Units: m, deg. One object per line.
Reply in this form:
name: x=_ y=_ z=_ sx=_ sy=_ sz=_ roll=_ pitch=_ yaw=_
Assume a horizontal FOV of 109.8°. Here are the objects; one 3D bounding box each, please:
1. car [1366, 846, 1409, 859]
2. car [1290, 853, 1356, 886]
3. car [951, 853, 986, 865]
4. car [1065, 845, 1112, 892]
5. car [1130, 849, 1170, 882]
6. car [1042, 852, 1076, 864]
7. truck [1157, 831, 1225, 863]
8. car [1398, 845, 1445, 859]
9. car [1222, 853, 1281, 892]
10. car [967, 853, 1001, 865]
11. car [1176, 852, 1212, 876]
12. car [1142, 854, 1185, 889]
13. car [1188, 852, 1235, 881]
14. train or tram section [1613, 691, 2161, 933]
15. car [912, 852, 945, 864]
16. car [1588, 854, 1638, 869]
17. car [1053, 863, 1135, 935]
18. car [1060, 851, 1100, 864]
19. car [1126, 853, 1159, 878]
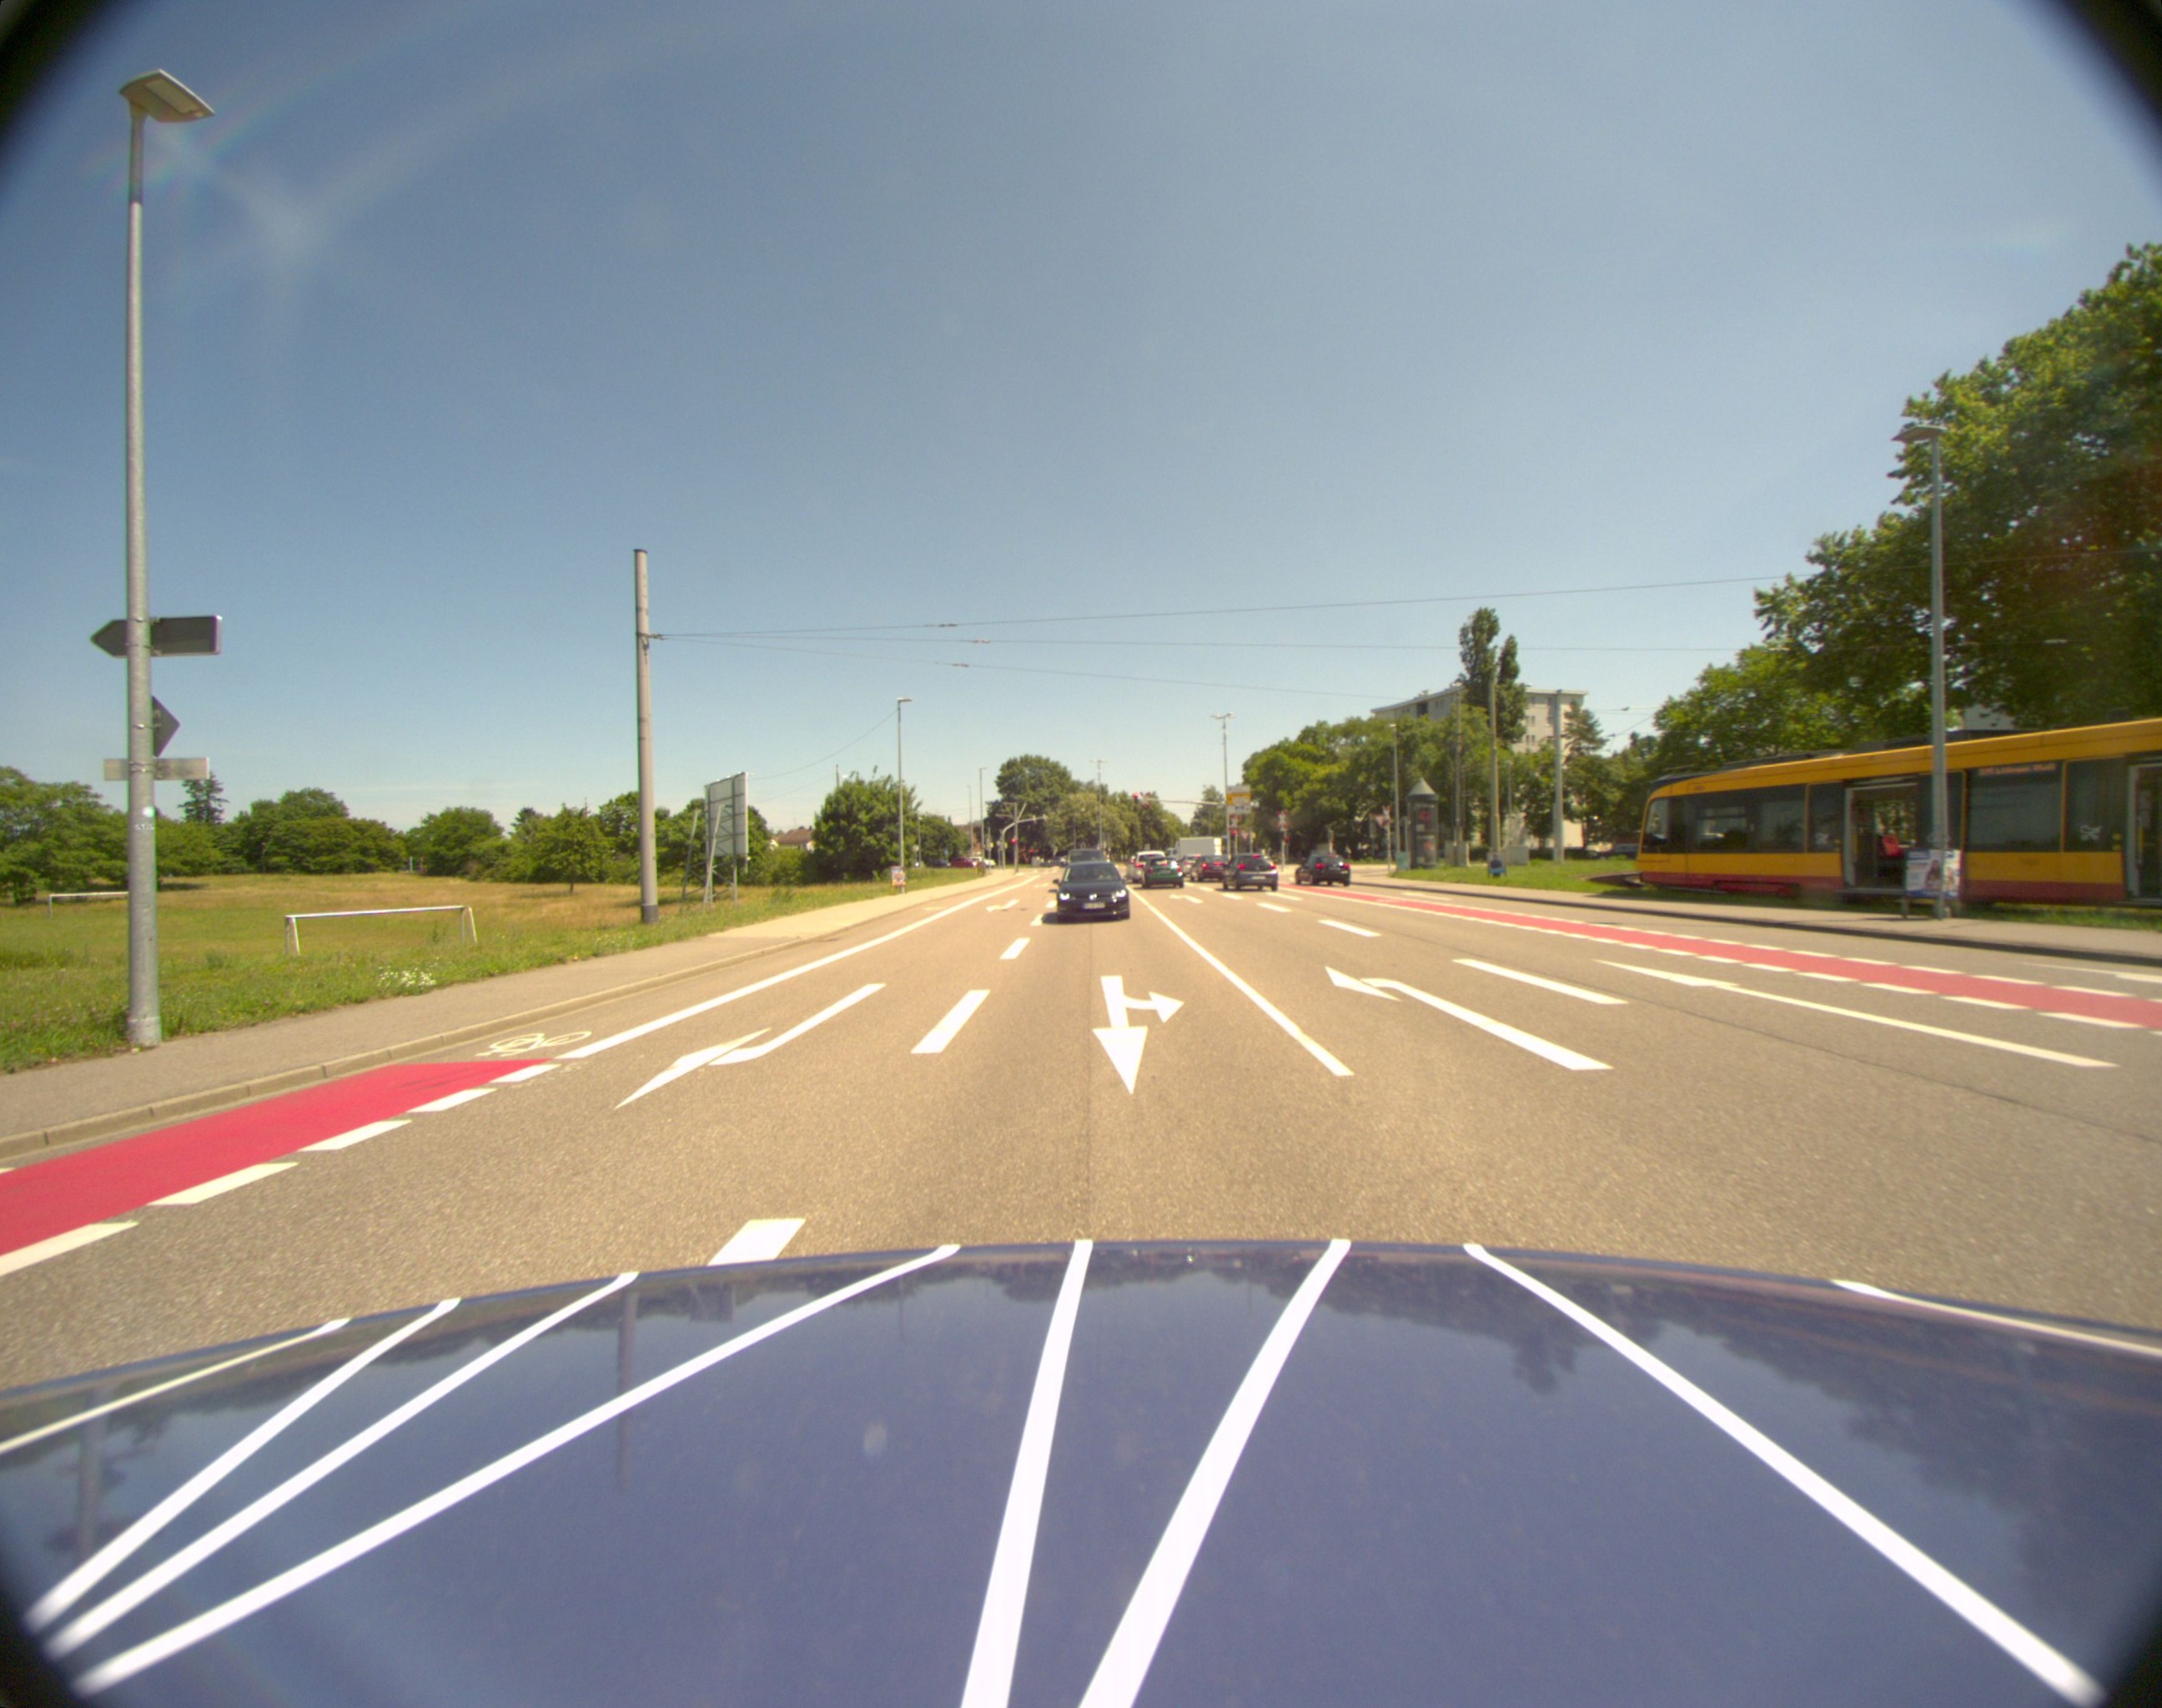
car: x=32.112 y=-0.144 z=79.558 sx=3.989 sy=1.279 sz=1.891 roll=-1 pitch=-2 yaw=30
car: x=11.273 y=0.699 z=35.670 sx=1.748 sy=1.397 sz=4.441 roll=1 pitch=0 yaw=1
car: x=-14.803 y=0.682 z=100.243 sx=4.400 sy=1.567 sz=1.879 roll=-1 pitch=-1 yaw=32
car: x=0.379 y=0.607 z=35.368 sx=1.941 sy=1.920 sz=4.846 roll=-3 pitch=1 yaw=2
car: x=3.794 y=0.605 z=42.244 sx=1.816 sy=1.713 sz=4.831 roll=-2 pitch=0 yaw=1
car: x=-2.888 y=0.533 z=100.777 sx=4.203 sy=1.416 sz=1.853 roll=-1 pitch=-1 yaw=32
truck: x=13.208 y=-0.760 z=91.582 sx=7.691 sy=3.511 sz=2.594 roll=-1 pitch=-2 yaw=32
car: x=33.186 y=-0.163 z=74.134 sx=3.989 sy=1.279 sz=1.751 roll=-1 pitch=-2 yaw=30
car: x=6.691 y=0.691 z=30.191 sx=1.626 sy=1.447 sz=3.501 roll=0 pitch=0 yaw=1
car: x=-13.154 y=0.629 z=103.215 sx=4.400 sy=1.567 sz=1.879 roll=-1 pitch=-1 yaw=32
car: x=7.343 y=0.609 z=49.733 sx=1.795 sy=1.447 sz=4.413 roll=-1 pitch=0 yaw=2
car: x=3.713 y=0.747 z=34.742 sx=1.727 sy=1.454 sz=3.991 roll=-2 pitch=0 yaw=4
car: x=6.930 y=0.643 z=40.664 sx=1.764 sy=1.448 sz=4.285 roll=-1 pitch=0 yaw=0
train or tram section: x=17.838 y=-0.640 z=16.177 sx=3.025 sy=3.737 sz=12.987 roll=0 pitch=0 yaw=-5
car: x=-20.801 y=0.594 z=103.656 sx=4.400 sy=1.567 sz=1.879 roll=-1 pitch=-1 yaw=32
car: x=48.618 y=0.687 z=69.509 sx=3.636 sy=1.279 sz=1.609 roll=-1 pitch=-2 yaw=30
car: x=0.363 y=1.007 z=18.640 sx=1.708 sy=1.396 sz=4.054 roll=-4 pitch=0 yaw=2
car: x=-0.164 y=0.425 z=89.575 sx=4.400 sy=1.380 sz=1.879 roll=-1 pitch=-1 yaw=32
car: x=3.894 y=0.697 z=48.853 sx=1.772 sy=1.429 sz=3.960 roll=-3 pitch=0 yaw=0
